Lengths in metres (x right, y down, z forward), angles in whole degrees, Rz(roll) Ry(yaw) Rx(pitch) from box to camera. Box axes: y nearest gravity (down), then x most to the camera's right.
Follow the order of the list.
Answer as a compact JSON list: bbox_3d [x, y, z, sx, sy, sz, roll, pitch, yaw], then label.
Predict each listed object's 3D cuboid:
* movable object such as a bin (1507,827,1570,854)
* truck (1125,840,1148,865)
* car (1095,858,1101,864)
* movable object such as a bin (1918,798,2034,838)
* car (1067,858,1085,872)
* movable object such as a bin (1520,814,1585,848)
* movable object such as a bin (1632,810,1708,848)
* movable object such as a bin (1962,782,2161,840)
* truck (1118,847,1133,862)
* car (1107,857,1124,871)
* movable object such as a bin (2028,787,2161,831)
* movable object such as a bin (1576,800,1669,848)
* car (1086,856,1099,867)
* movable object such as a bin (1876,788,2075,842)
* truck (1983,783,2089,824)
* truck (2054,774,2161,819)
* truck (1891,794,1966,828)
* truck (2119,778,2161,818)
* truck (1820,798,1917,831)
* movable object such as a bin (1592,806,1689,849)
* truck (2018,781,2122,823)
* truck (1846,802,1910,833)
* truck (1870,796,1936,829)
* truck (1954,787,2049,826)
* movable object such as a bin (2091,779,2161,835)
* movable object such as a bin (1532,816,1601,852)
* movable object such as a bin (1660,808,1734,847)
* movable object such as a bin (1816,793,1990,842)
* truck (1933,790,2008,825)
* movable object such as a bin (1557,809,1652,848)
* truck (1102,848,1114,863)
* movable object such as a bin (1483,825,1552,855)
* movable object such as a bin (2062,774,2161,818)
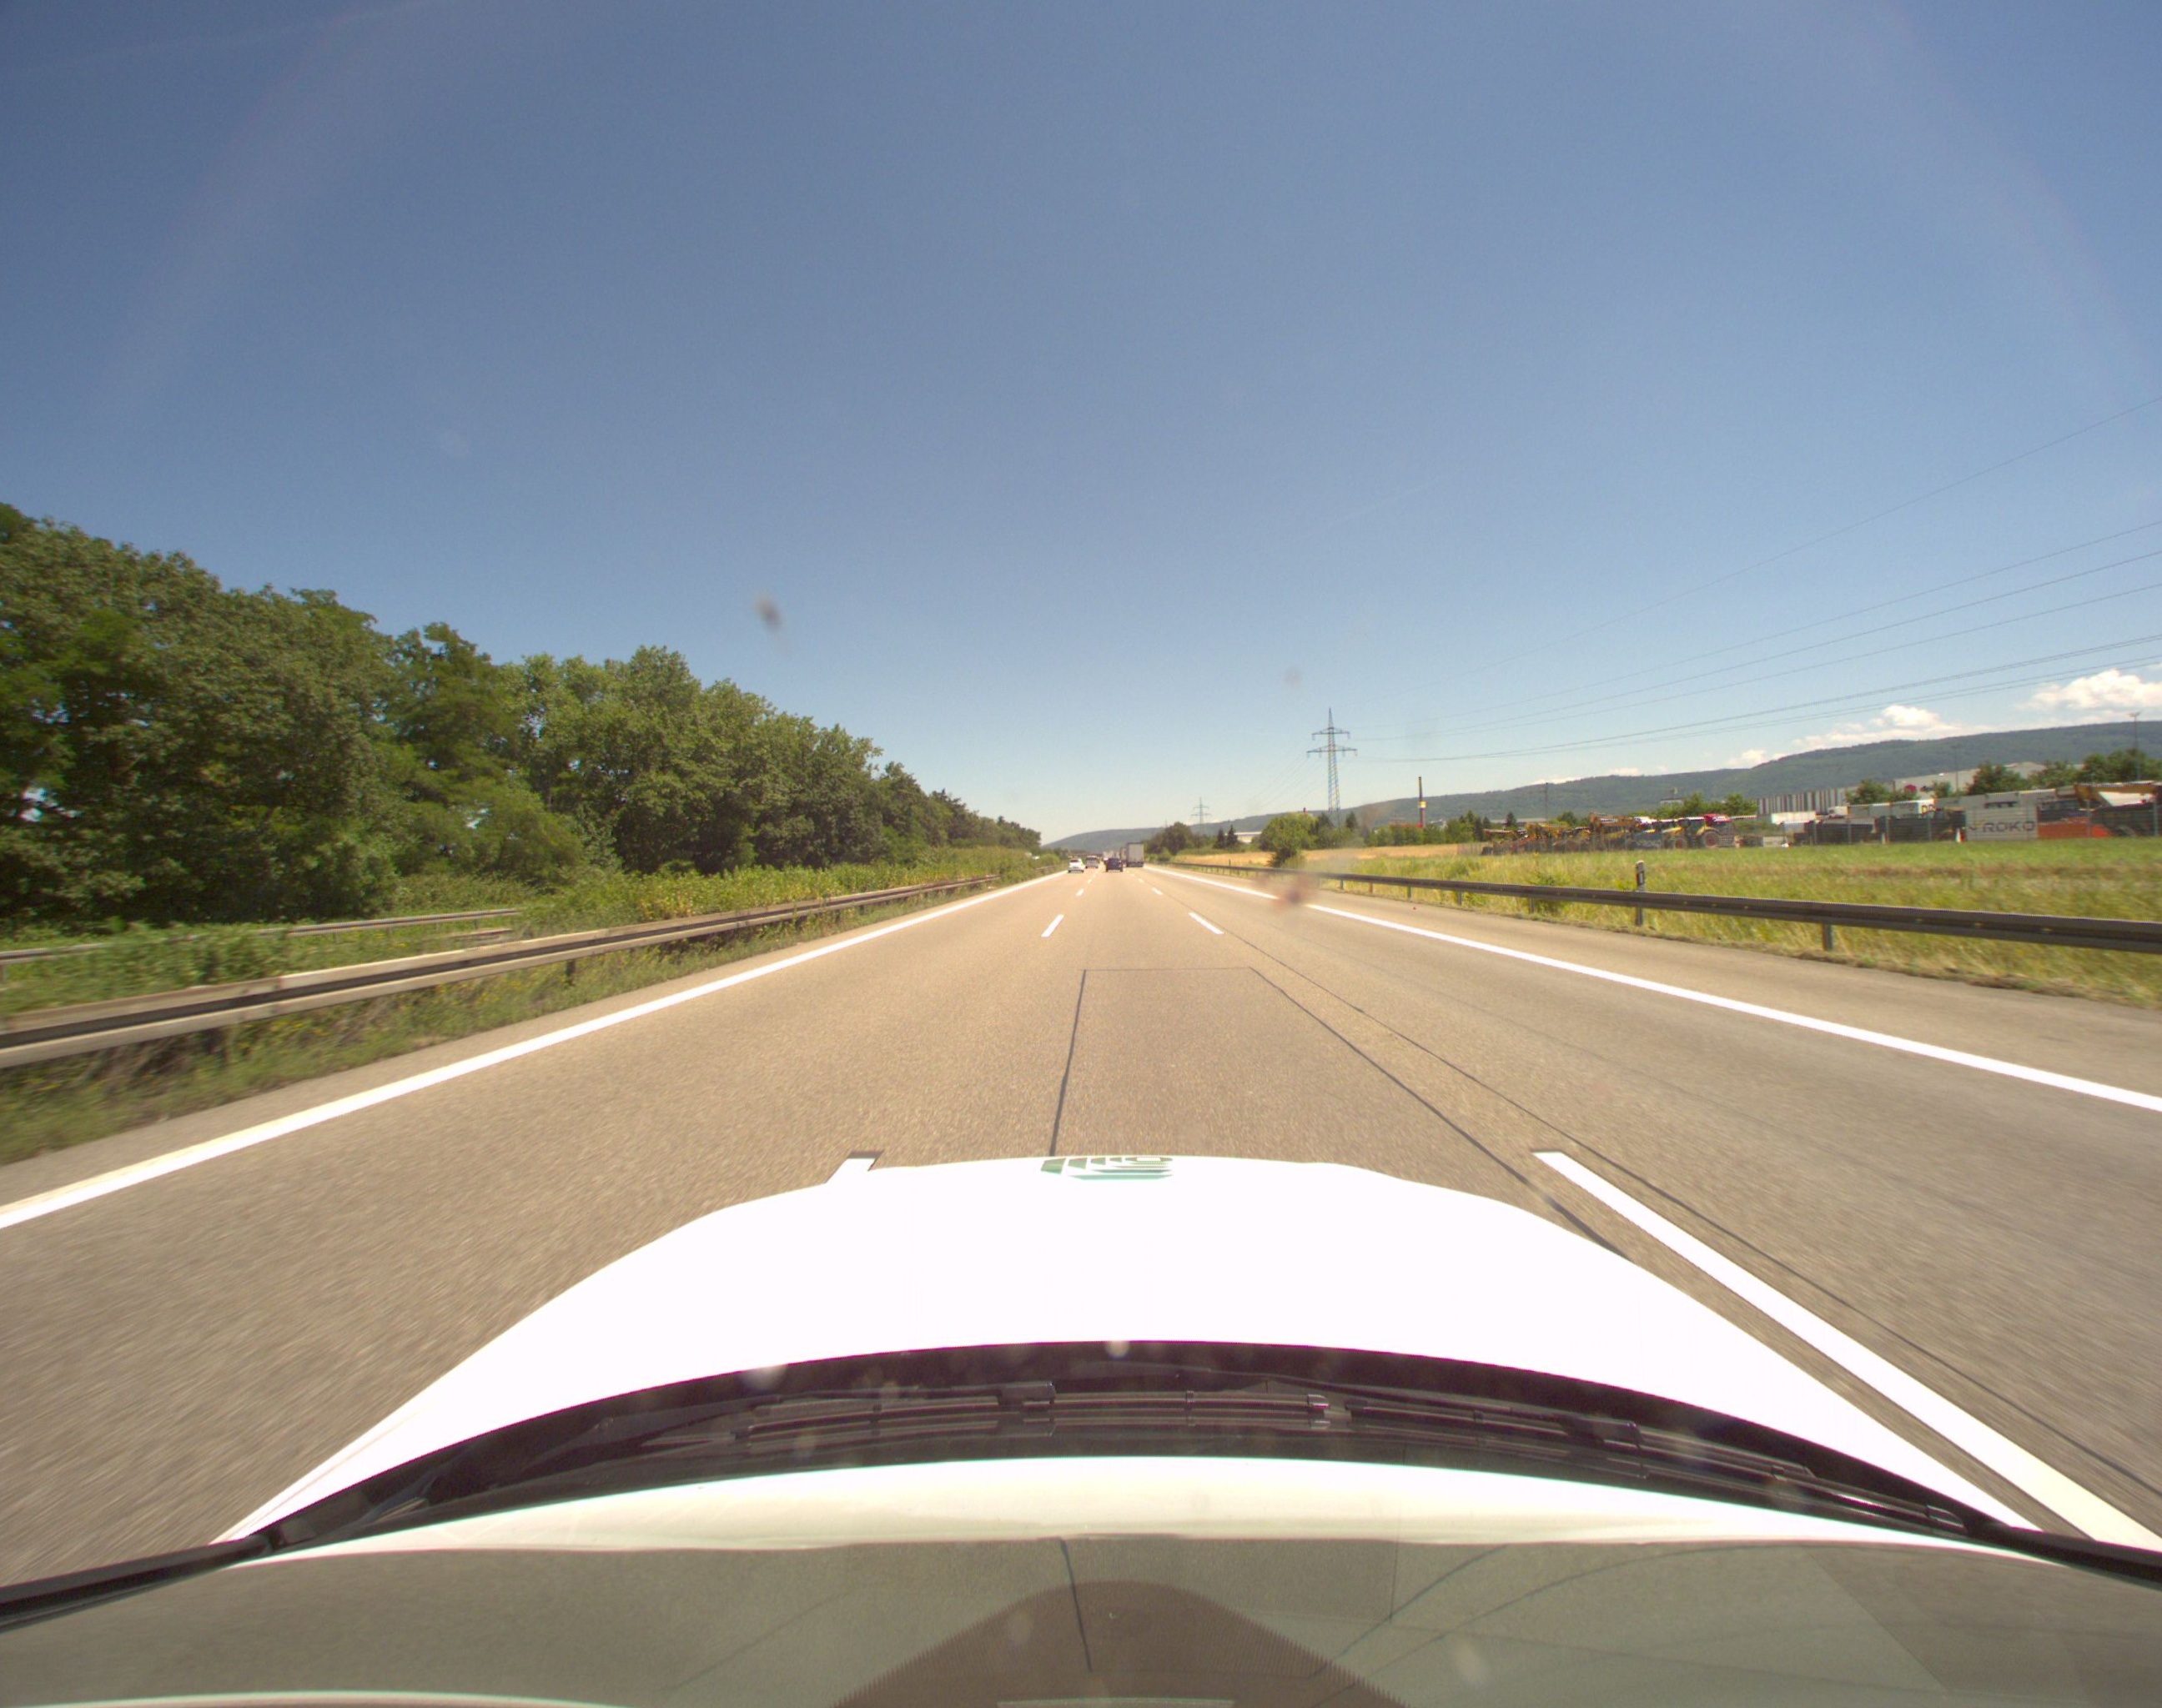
[{"bbox_3d":[57.498,-1.683,102.446,6.312,2.880,2.278,-4,-1,7],"label":"movable object such as a bin"},{"bbox_3d":[9.092,-0.241,134.748,3.253,3.857,11.635,0,0,1],"label":"truck"},{"bbox_3d":[4.855,1.921,232.097,1.845,1.633,4.002,0,0,2],"label":"car"},{"bbox_3d":[76.704,-3.047,69.915,6.297,2.880,2.283,-3,-1,16],"label":"movable object such as a bin"},{"bbox_3d":[-0.532,1.231,89.730,1.800,1.468,4.002,0,0,2],"label":"car"},{"bbox_3d":[57.259,-2.759,99.081,6.312,3.732,2.278,-4,-1,7],"label":"movable object such as a bin"},{"bbox_3d":[57.354,-2.418,79.413,5.226,3.293,2.795,-4,-1,9],"label":"movable object such as a bin"},{"bbox_3d":[56.189,-2.404,46.774,6.818,2.688,3.196,-4,0,24],"label":"movable object such as a bin"},{"bbox_3d":[10.610,-0.010,195.235,3.086,3.474,11.545,0,0,1],"label":"truck"},{"bbox_3d":[3.815,1.124,90.856,1.878,1.515,4.002,0,0,2],"label":"car"},{"bbox_3d":[77.429,-3.391,62.232,6.297,2.880,2.283,-3,-1,16],"label":"movable object such as a bin"},{"bbox_3d":[57.837,-3.168,87.182,7.474,4.527,3.110,-4,-1,8],"label":"movable object such as a bin"},{"bbox_3d":[1.790,1.198,124.622,1.845,1.633,4.002,0,0,2],"label":"car"},{"bbox_3d":[56.346,-2.385,51.619,7.758,2.688,3.196,-4,0,25],"label":"movable object such as a bin"},{"bbox_3d":[87.412,-4.587,74.638,6.336,3.255,3.243,-3,-1,-6],"label":"truck"},{"bbox_3d":[84.386,-4.709,66.866,6.343,3.149,2.912,-3,-1,-10],"label":"truck"},{"bbox_3d":[93.967,-4.755,90.321,5.708,3.418,3.196,-3,-1,-13],"label":"truck"},{"bbox_3d":[91.587,-4.808,68.247,6.343,3.149,2.912,-3,-1,-10],"label":"truck"},{"bbox_3d":[79.974,-3.998,82.825,6.314,2.821,3.351,-3,-1,4],"label":"truck"},{"bbox_3d":[57.213,-2.654,83.462,7.474,3.783,3.110,-4,-1,8],"label":"movable object such as a bin"},{"bbox_3d":[85.983,-4.505,70.865,6.343,3.149,2.912,-3,-1,-10],"label":"truck"},{"bbox_3d":[97.807,-4.503,99.978,5.708,3.418,2.900,-3,-1,-13],"label":"truck"},{"bbox_3d":[95.542,-4.766,94.708,5.708,3.418,2.760,-3,-1,-13],"label":"truck"},{"bbox_3d":[89.379,-4.606,79.125,6.347,3.255,3.334,-3,-1,-12],"label":"truck"},{"bbox_3d":[56.055,-2.512,40.368,6.827,2.688,3.191,-4,0,16],"label":"movable object such as a bin"},{"bbox_3d":[56.917,-2.284,95.503,6.312,3.732,2.500,-4,-1,7],"label":"movable object such as a bin"},{"bbox_3d":[56.809,-2.430,75.153,4.786,3.196,2.303,-4,-1,9],"label":"movable object such as a bin"},{"bbox_3d":[56.690,-2.464,56.478,7.758,2.688,3.196,-4,0,25],"label":"movable object such as a bin"},{"bbox_3d":[90.847,-4.758,83.197,5.324,3.208,2.839,-3,-1,-13],"label":"truck"},{"bbox_3d":[58.367,-2.788,91.035,8.138,3.732,3.345,-4,0,8],"label":"movable object such as a bin"},{"bbox_3d":[6.678,0.361,202.381,3.086,3.474,11.545,0,0,1],"label":"truck"},{"bbox_3d":[56.796,-1.797,106.074,7.505,3.402,2.278,-4,-1,7],"label":"movable object such as a bin"},{"bbox_3d":[74.831,-4.187,56.410,8.334,2.688,2.756,-4,-1,25],"label":"movable object such as a bin"}]
